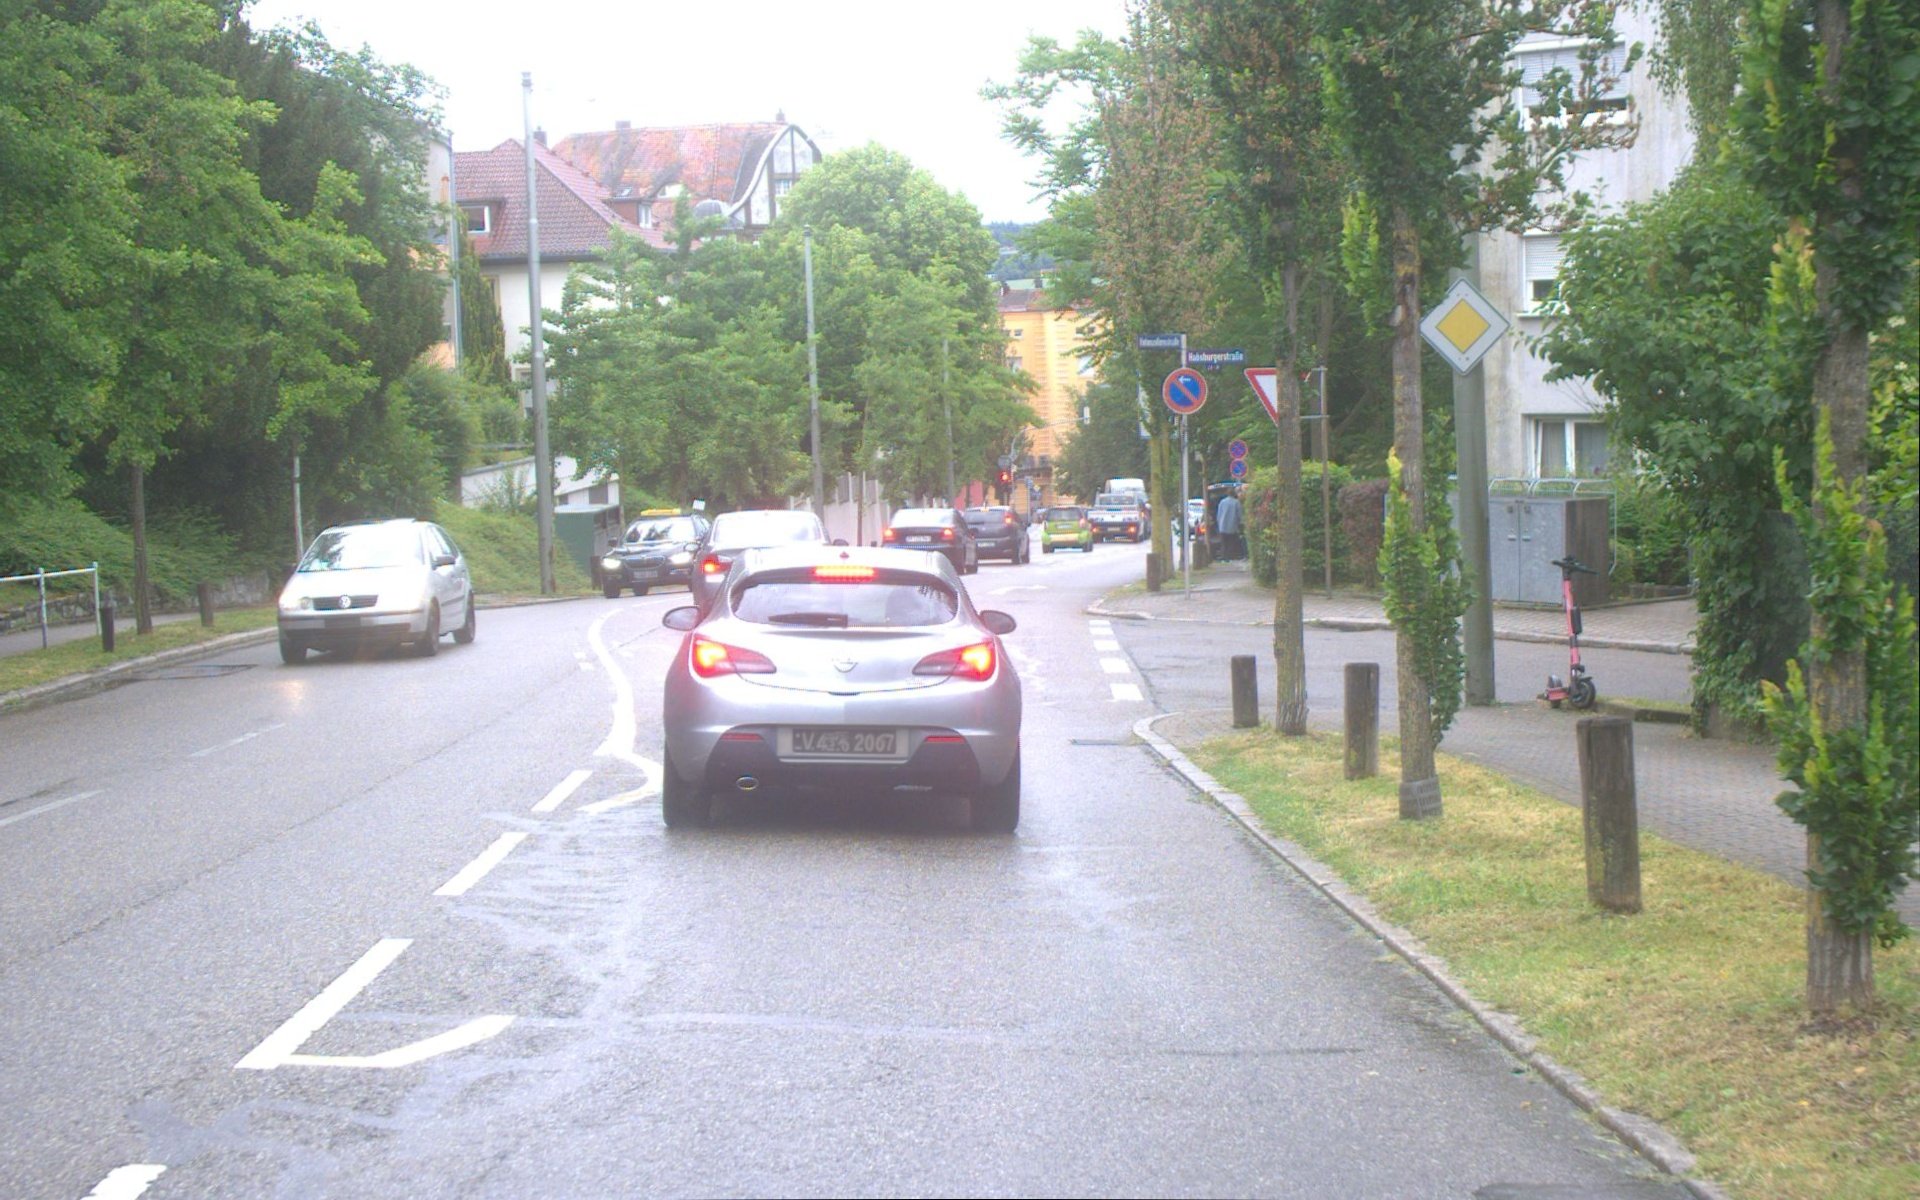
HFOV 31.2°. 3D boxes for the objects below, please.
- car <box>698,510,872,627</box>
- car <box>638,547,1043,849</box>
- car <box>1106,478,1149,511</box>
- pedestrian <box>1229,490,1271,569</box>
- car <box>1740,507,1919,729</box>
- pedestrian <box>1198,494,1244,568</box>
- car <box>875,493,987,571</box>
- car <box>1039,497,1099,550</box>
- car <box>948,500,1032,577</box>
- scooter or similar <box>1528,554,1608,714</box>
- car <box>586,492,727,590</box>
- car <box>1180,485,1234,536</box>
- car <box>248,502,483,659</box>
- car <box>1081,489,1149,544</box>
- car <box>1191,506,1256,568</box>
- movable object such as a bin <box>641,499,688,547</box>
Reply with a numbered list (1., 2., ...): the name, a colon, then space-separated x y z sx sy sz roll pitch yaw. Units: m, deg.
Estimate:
1. car: -2.034 -0.403 40.955 1.798 1.318 4.000 0 1 1
2. car: -0.615 0.448 18.709 1.945 1.427 3.884 1 1 -1
3. car: 9.222 -5.816 189.137 1.994 1.778 3.999 2 2 7
4. pedestrian: 6.924 -1.680 82.023 0.663 1.830 0.689 -4 2 -18
5. car: 6.959 0.097 24.871 1.503 1.430 4.001 2 2 -3
6. pedestrian: 6.199 -1.637 81.677 0.734 1.718 0.765 -4 2 -19
7. car: -0.574 -1.434 71.336 1.961 1.467 3.951 2 2 4
8. car: 3.606 -2.517 113.174 1.754 1.645 4.000 2 1 4
9. car: 0.777 -1.544 85.225 1.769 1.775 3.976 2 2 4
10. scooter or similar: 4.882 0.258 27.651 0.342 1.250 1.268 1 1 -2
11. car: -5.509 -1.101 62.960 1.911 1.579 4.587 -4 1 2
12. car: 10.355 -3.769 143.701 1.994 2.029 4.734 2 2 6
13. car: -6.446 -0.254 37.654 1.765 1.481 3.801 -3 2 1
14. car: 6.160 -3.323 136.215 2.334 2.029 4.734 2 2 7
15. car: 6.503 -1.554 84.538 1.504 1.430 3.999 -2 1 5
16. movable object such as a bin: -8.471 -2.204 98.579 1.272 1.382 0.489 0 2 4
